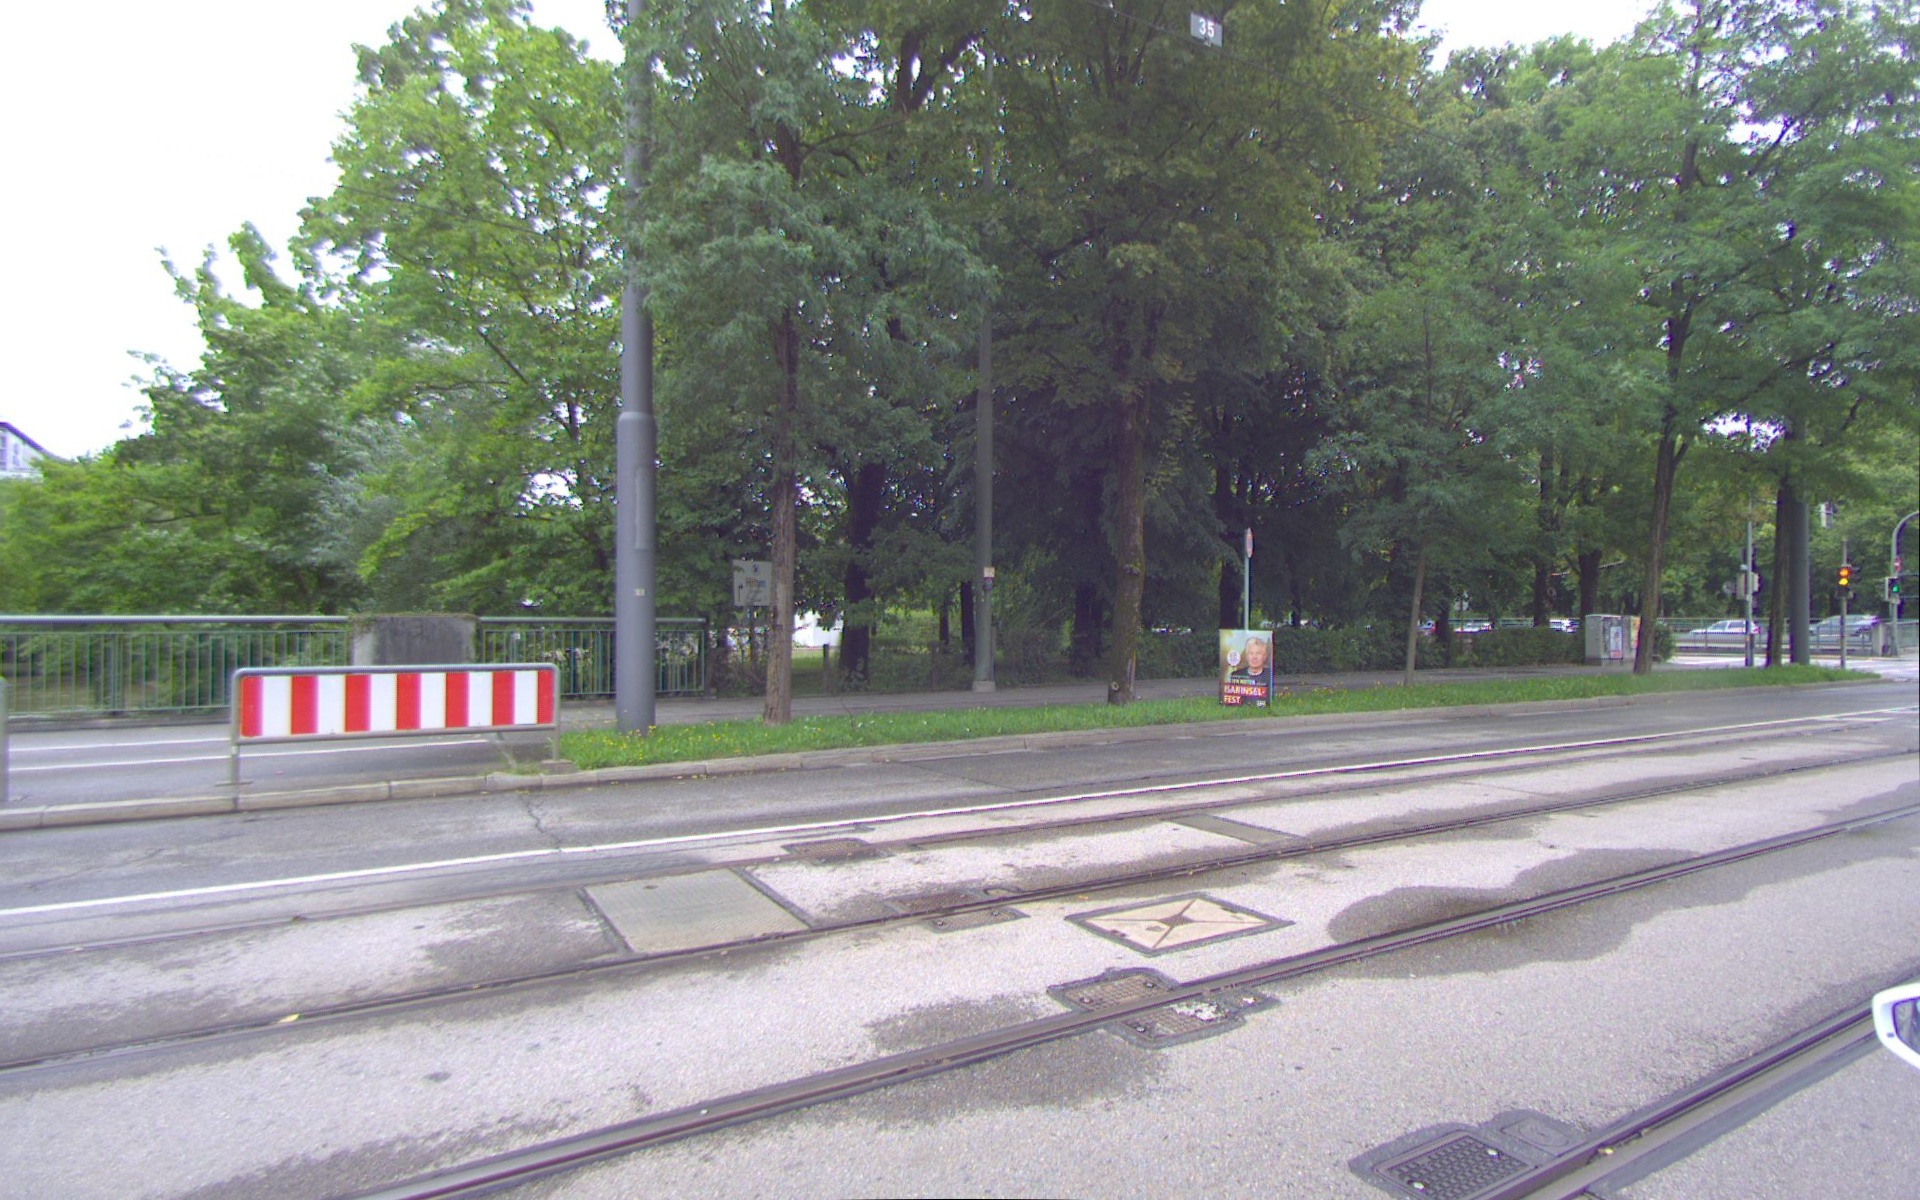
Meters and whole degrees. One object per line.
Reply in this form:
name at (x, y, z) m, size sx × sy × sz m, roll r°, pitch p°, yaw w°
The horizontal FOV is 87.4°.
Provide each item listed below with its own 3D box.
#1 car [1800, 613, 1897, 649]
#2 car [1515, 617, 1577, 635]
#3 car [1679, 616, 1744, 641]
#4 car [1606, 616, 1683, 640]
car at (51.882, 1.800, 58.719) m, size 1.476 × 1.912 × 3.994 m, roll 1°, pitch 1°, yaw -36°
car at (42.567, 1.872, 72.984) m, size 1.238 × 1.201 × 3.705 m, roll 1°, pitch 0°, yaw -34°
car at (47.994, 1.793, 64.172) m, size 1.238 × 1.471 × 3.090 m, roll 1°, pitch 1°, yaw -34°
car at (46.007, 1.852, 67.583) m, size 1.703 × 1.423 × 3.900 m, roll 1°, pitch 0°, yaw -34°
